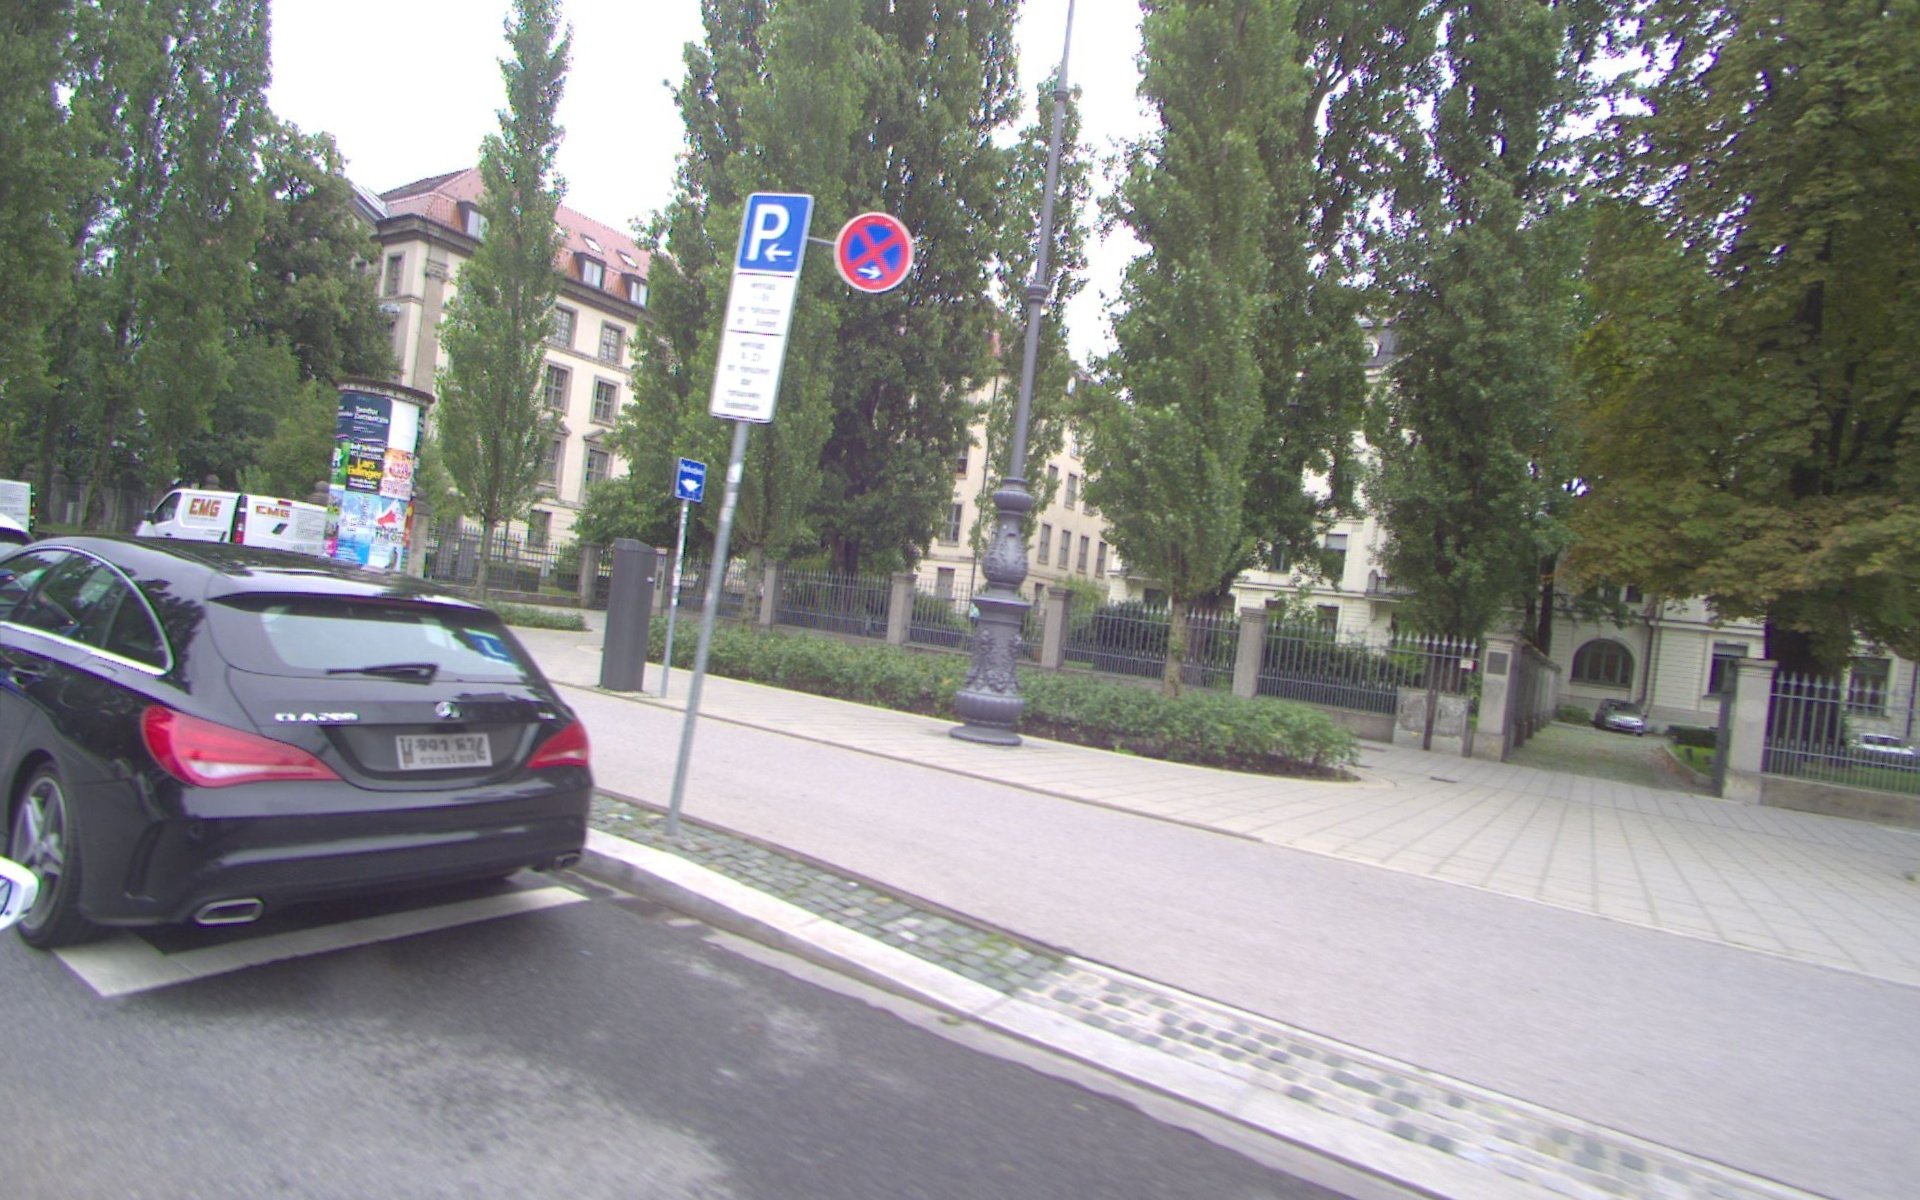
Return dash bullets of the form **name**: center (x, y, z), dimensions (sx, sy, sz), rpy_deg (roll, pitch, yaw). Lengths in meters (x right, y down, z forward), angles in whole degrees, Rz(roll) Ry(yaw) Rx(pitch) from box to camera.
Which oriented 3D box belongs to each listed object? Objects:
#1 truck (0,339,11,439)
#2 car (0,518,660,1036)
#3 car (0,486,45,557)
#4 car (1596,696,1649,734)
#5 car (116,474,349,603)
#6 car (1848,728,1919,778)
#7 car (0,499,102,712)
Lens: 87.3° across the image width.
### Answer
- **truck**: center (-15.482, -1.819, 12.658), dimensions (10.258, 3.147, 2.716), rpy_deg (6, -1, 34)
- **car**: center (-3.563, 0.410, 4.673), dimensions (4.300, 1.326, 1.737), rpy_deg (6, -1, 34)
- **car**: center (-30.332, -2.568, 30.924), dimensions (5.002, 1.969, 1.995), rpy_deg (6, -1, 34)
- **car**: center (31.244, 5.382, 47.524), dimensions (1.803, 1.420, 4.207), rpy_deg (7, -1, 32)
- **car**: center (-14.423, -1.249, 19.872), dimensions (4.804, 1.966, 1.884), rpy_deg (6, -2, 32)
- **car**: center (38.335, 6.296, 41.674), dimensions (1.624, 1.637, 3.990), rpy_deg (7, -1, 34)
- **car**: center (-8.616, -0.188, 7.795), dimensions (4.149, 1.477, 1.790), rpy_deg (6, -2, 33)
